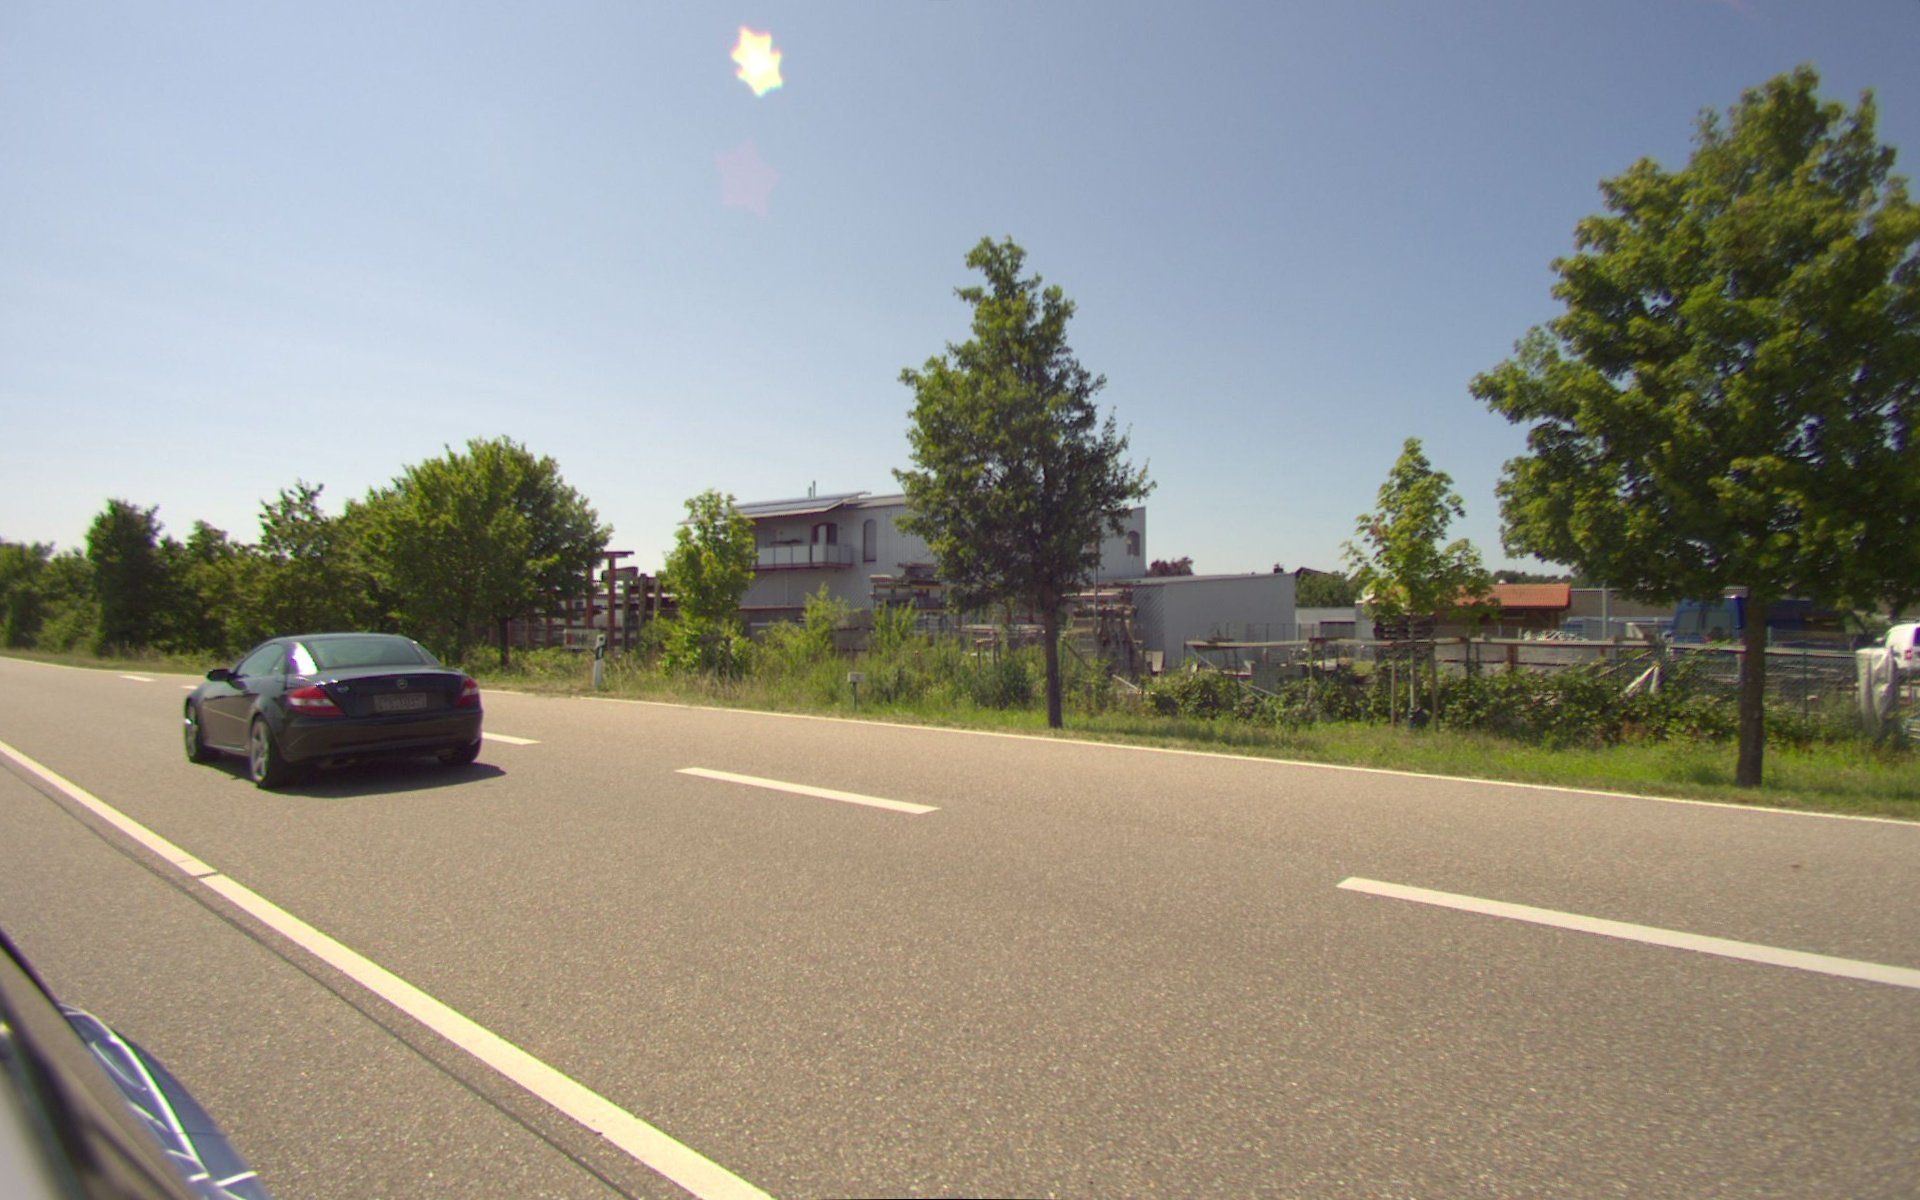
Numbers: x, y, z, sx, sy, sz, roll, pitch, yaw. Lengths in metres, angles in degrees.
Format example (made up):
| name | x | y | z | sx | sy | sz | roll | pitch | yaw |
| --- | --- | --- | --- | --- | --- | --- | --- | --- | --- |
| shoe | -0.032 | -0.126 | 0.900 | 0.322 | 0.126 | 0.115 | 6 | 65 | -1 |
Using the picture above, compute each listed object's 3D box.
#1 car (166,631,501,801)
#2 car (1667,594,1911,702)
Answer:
| name | x | y | z | sx | sy | sz | roll | pitch | yaw |
| --- | --- | --- | --- | --- | --- | --- | --- | --- | --- |
| car | -6.095 | 0.952 | 9.685 | 3.808 | 1.278 | 1.619 | -1 | -1 | 40 |
| car | 22.624 | 1.324 | 27.672 | 5.646 | 2.743 | 2.372 | 1 | -2 | -17 |
